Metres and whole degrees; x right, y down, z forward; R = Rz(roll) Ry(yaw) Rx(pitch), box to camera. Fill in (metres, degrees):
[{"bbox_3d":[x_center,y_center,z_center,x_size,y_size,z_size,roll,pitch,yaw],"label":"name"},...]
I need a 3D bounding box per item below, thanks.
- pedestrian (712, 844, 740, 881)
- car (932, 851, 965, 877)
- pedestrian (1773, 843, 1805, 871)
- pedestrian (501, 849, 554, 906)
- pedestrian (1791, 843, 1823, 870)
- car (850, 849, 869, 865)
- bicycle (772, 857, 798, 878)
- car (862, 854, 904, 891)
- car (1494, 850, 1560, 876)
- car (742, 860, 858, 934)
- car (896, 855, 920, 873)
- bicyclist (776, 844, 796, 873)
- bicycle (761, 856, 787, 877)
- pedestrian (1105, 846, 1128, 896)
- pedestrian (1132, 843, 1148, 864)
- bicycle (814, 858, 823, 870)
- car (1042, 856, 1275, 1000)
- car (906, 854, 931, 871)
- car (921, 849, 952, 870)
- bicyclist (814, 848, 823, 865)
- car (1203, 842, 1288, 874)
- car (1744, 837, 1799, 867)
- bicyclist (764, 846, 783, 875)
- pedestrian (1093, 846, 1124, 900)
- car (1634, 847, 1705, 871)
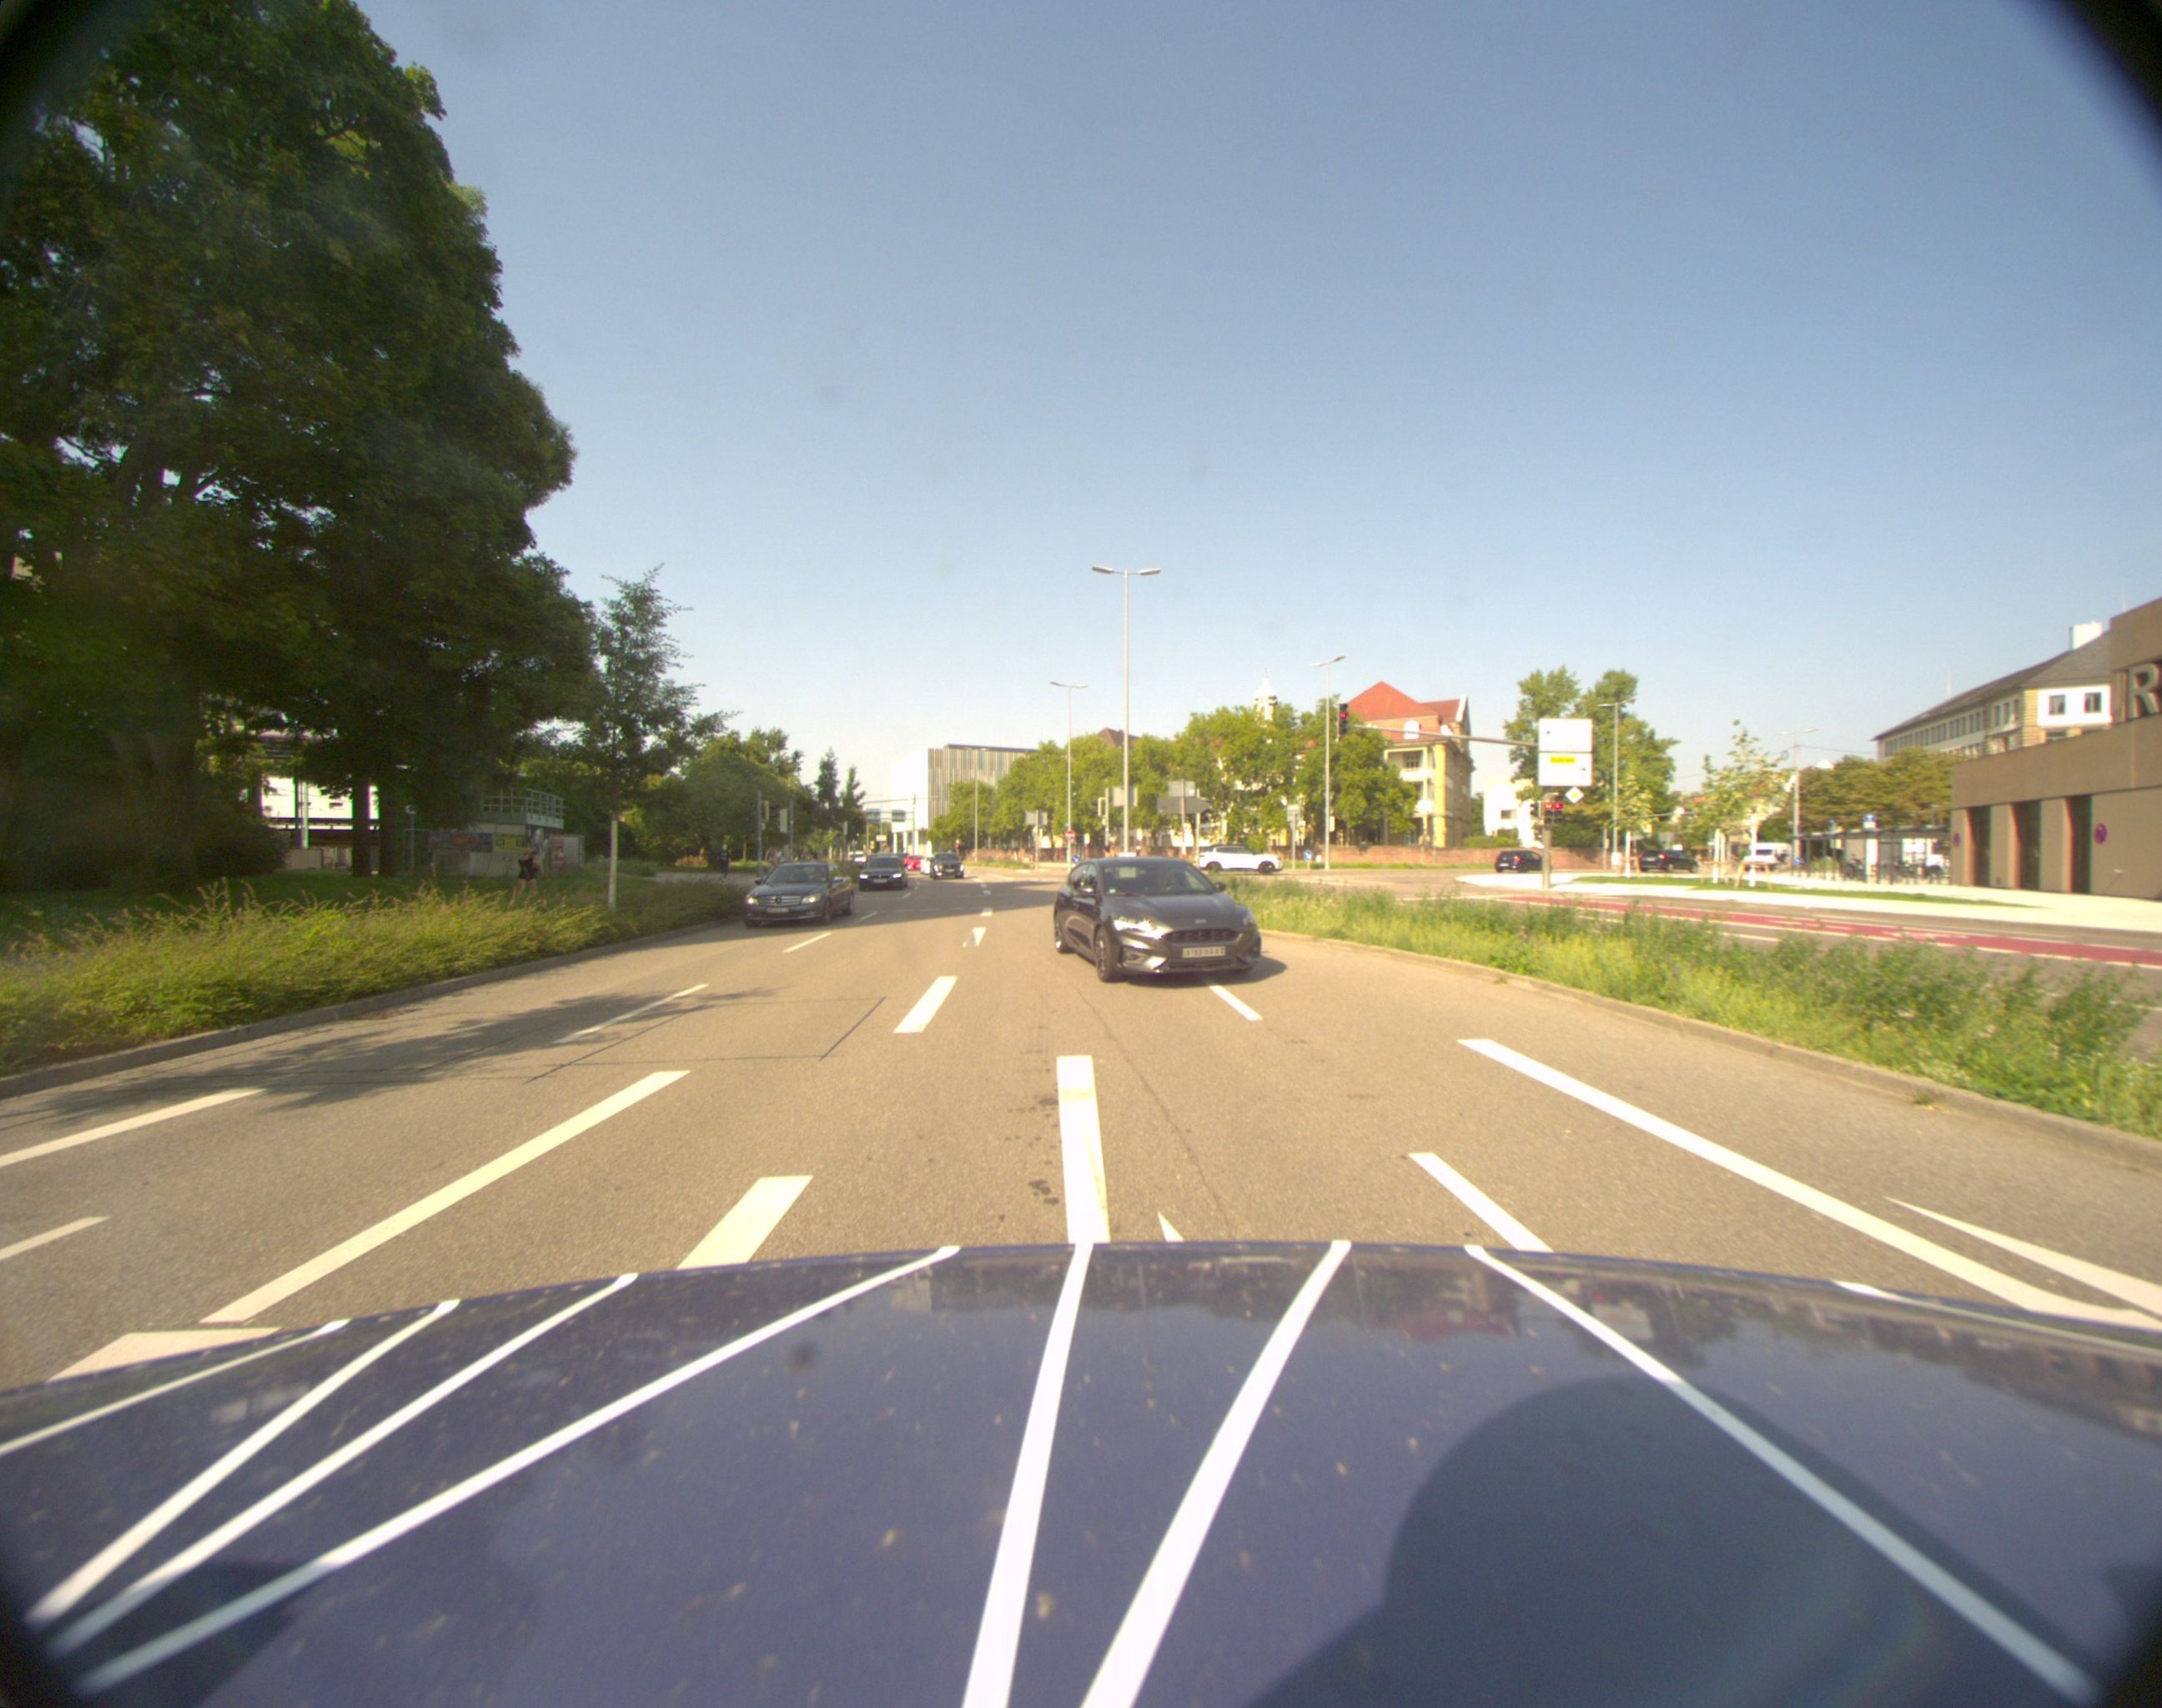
[{"bbox_3d":[-17.522,0.396,37.527,0.961,1.772,1.002,2,0,-10],"label":"pedestrian"},{"bbox_3d":[-8.112,0.589,46.402,1.689,1.483,4.366,0,0,-14],"label":"car"},{"bbox_3d":[51.333,0.187,55.076,1.344,2.002,1.210,0,1,-20],"label":"pedestrian"},{"bbox_3d":[-14.378,0.598,19.758,0.726,1.435,0.857,0,1,1],"label":"pedestrian"},{"bbox_3d":[53.121,0.169,55.583,1.344,2.002,1.210,0,1,-20],"label":"pedestrian"},{"bbox_3d":[-27.156,0.315,93.088,1.690,1.930,4.363,0,0,-22],"label":"car"},{"bbox_3d":[-15.829,0.709,40.727,0.773,1.111,2.302,0,0,-8],"label":"bicycle"},{"bbox_3d":[-8.712,0.750,33.677,1.689,1.483,4.667,0,0,-13],"label":"car"},{"bbox_3d":[27.622,0.533,47.064,3.855,1.489,1.622,0,1,-25],"label":"car"},{"bbox_3d":[-6.593,0.921,18.275,1.688,1.434,4.368,-2,1,-8],"label":"car"},{"bbox_3d":[-17.995,1.073,78.811,1.785,1.682,4.526,-3,0,-20],"label":"car"},{"bbox_3d":[-15.830,0.240,40.762,0.773,1.584,0.923,0,1,-8],"label":"bicyclist"},{"bbox_3d":[-16.889,0.673,41.812,0.773,1.111,2.302,-1,1,-8],"label":"bicycle"},{"bbox_3d":[1.189,0.559,25.863,0.669,1.689,0.691,0,1,-8],"label":"pedestrian"},{"bbox_3d":[5.697,-0.090,73.344,1.080,2.002,1.316,-1,1,-17],"label":"pedestrian"},{"bbox_3d":[-25.095,0.919,72.688,0.774,1.111,2.299,-1,1,-20],"label":"bicycle"},{"bbox_3d":[0.736,0.772,10.269,1.838,1.427,4.545,-1,1,-12],"label":"car"},{"bbox_3d":[-14.599,0.706,68.219,1.689,1.483,4.364,0,0,-19],"label":"car"},{"bbox_3d":[-10.768,0.401,56.319,1.785,1.474,4.526,0,1,-17],"label":"car"},{"bbox_3d":[-25.099,0.226,72.687,0.774,1.666,0.922,-1,1,-20],"label":"bicyclist"},{"bbox_3d":[8.811,0.218,41.020,4.365,1.623,2.002,-1,-1,9],"label":"car"},{"bbox_3d":[62.733,-0.175,69.021,5.559,2.437,1.995,-3,1,-29],"label":"car"},{"bbox_3d":[-16.892,0.344,41.747,0.773,1.584,0.923,-1,1,-8],"label":"bicyclist"},{"bbox_3d":[0.856,0.571,23.438,0.667,1.645,0.780,0,1,28],"label":"pedestrian"},{"bbox_3d":[41.820,0.348,53.989,4.377,1.624,1.996,0,0,-22],"label":"car"}]
